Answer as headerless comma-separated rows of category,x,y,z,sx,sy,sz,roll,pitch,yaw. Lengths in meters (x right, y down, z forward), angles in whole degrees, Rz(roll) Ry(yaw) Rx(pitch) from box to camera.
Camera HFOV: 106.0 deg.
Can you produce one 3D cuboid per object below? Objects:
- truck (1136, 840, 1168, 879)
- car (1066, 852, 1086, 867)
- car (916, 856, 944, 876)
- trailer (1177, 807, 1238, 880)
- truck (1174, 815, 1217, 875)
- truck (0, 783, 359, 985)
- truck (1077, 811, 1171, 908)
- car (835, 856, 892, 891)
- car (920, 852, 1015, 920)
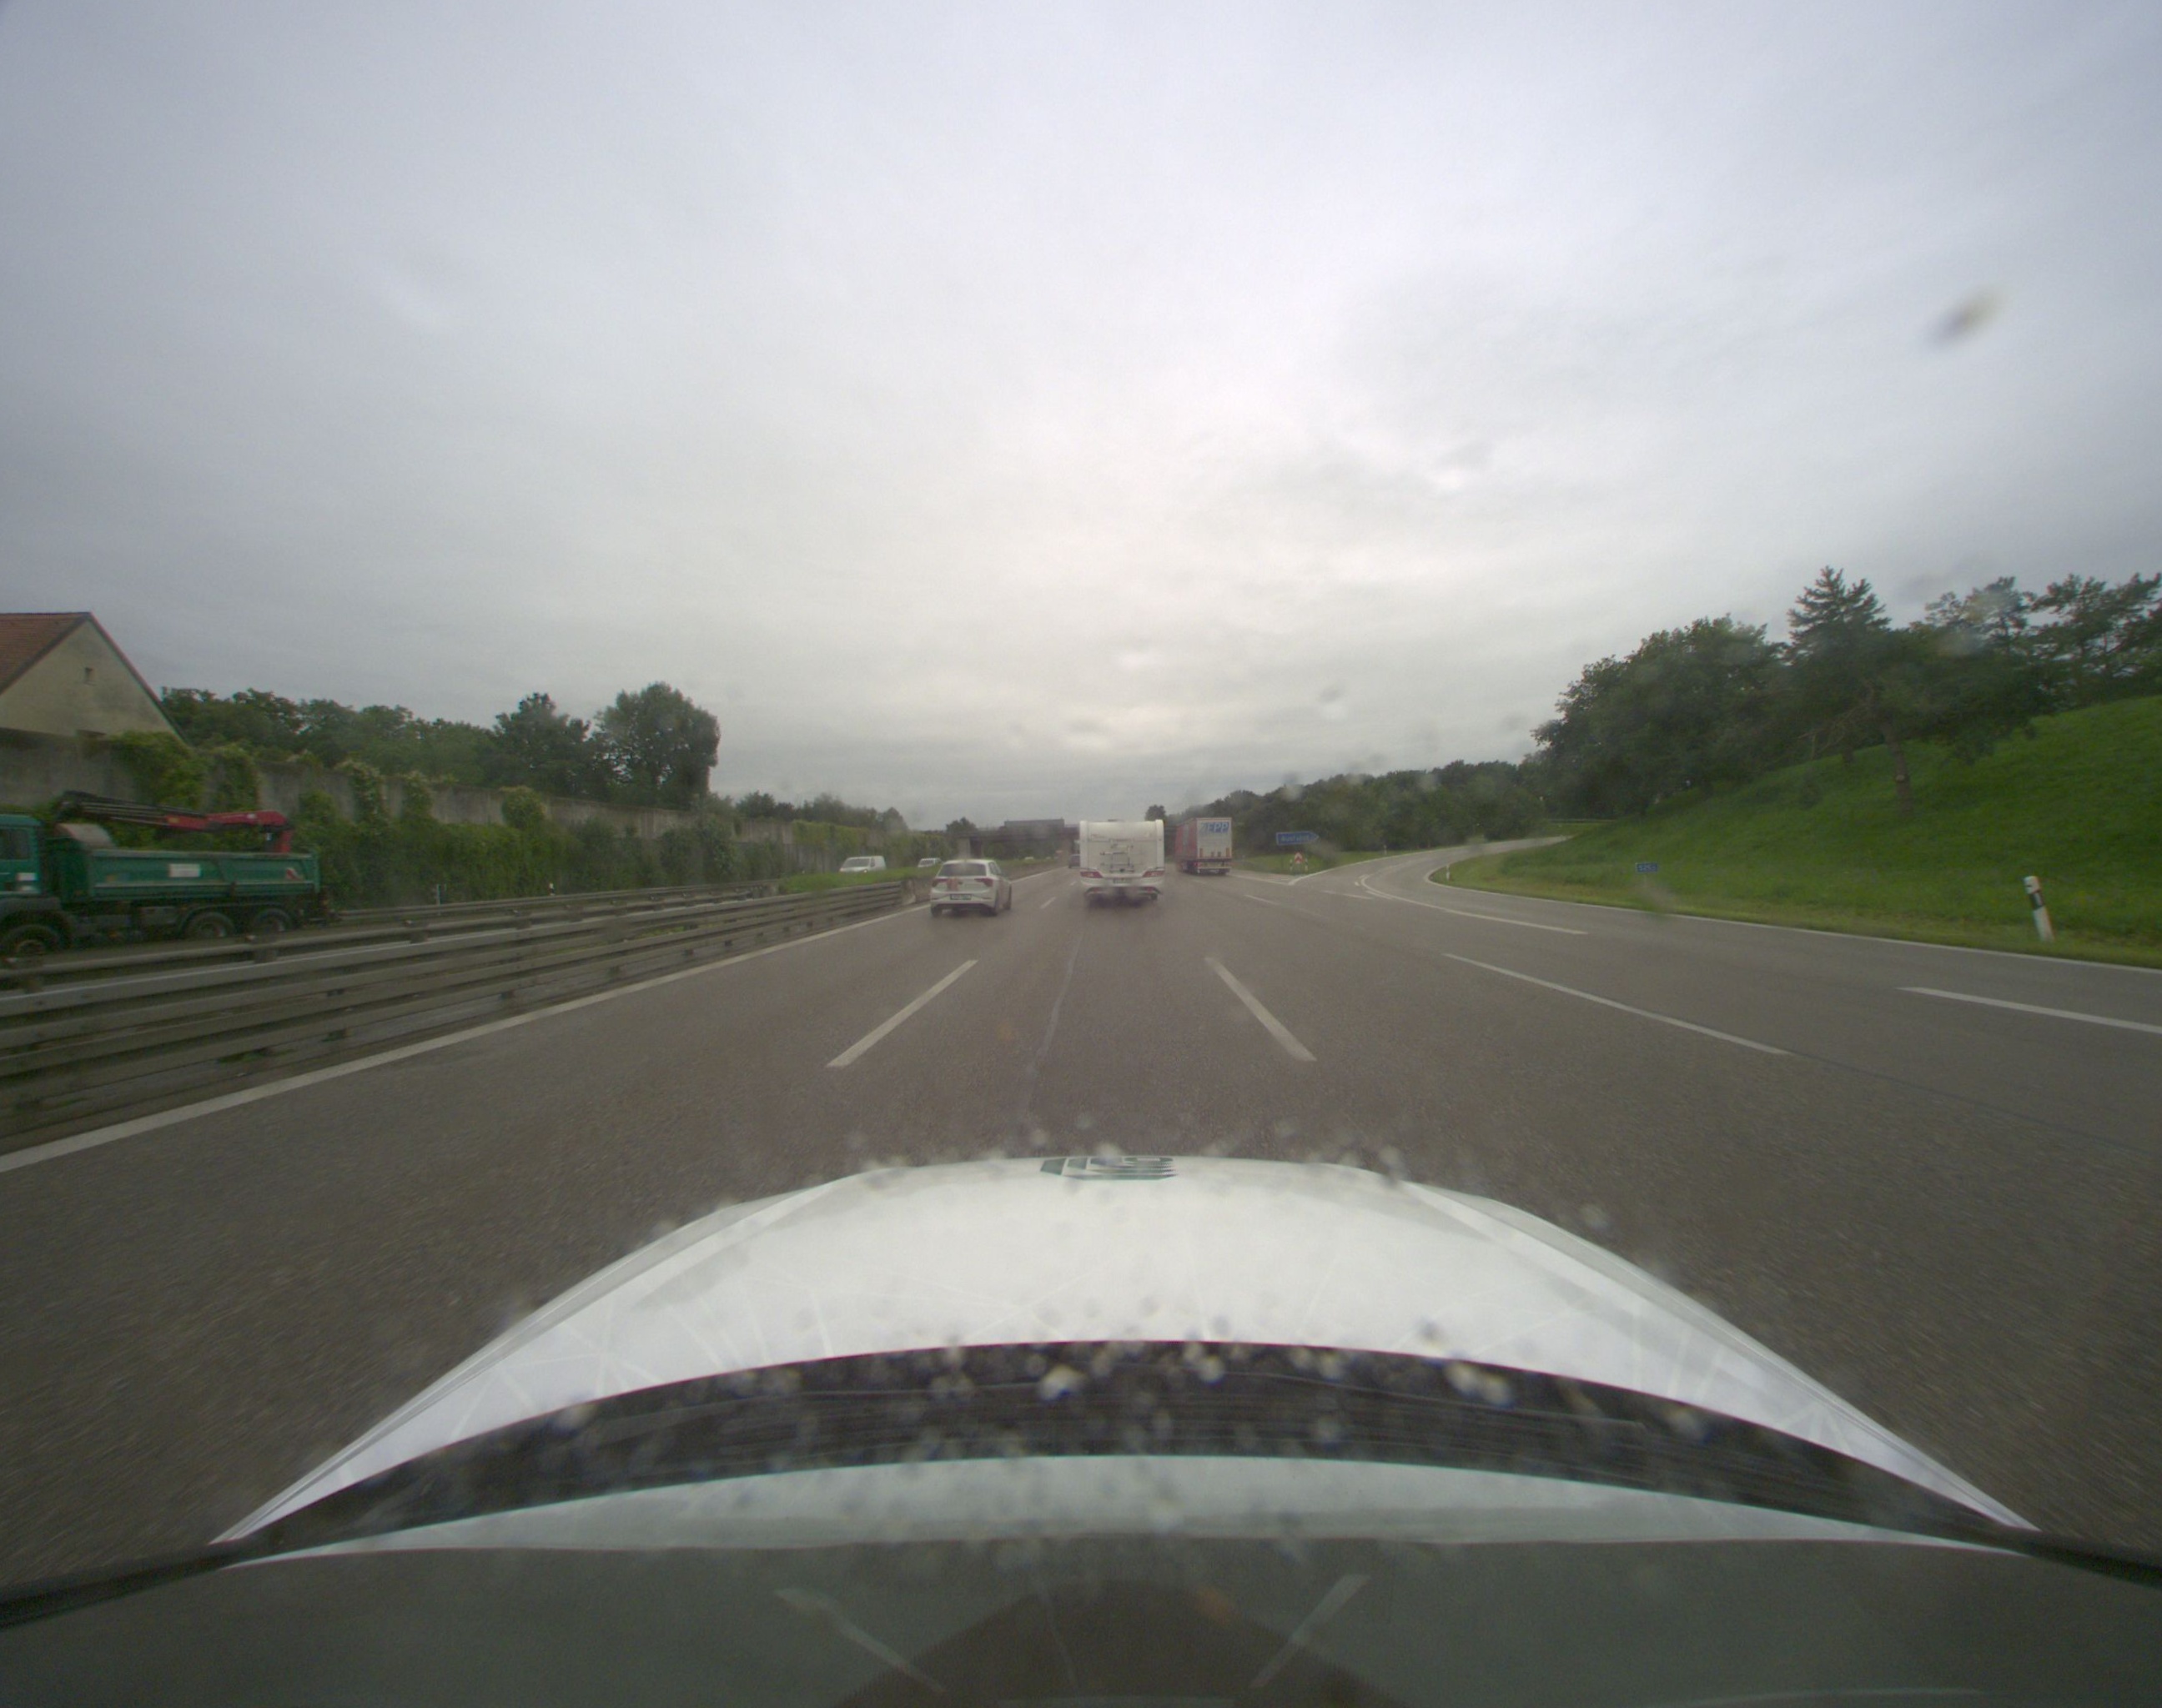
truck,5.260,0.427,60.955,2.046,2.770,5.550,0,-1,2
car,-0.559,0.655,94.953,1.985,1.600,5.126,0,0,2
car,-16.176,1.262,87.404,1.986,2.014,5.228,0,0,1
trailer,9.277,-0.695,61.001,3.088,4.922,11.795,0,-1,2
truck,9.563,-0.679,68.726,3.036,4.839,5.853,0,-1,2
truck,-21.497,0.593,18.474,2.682,3.777,8.338,0,-1,1
truck,1.290,0.184,25.766,2.651,2.742,5.079,0,-1,1
car,-13.689,1.185,51.540,2.073,2.013,5.196,-2,0,1
car,-2.954,0.784,22.230,1.746,1.618,4.665,-2,0,2
